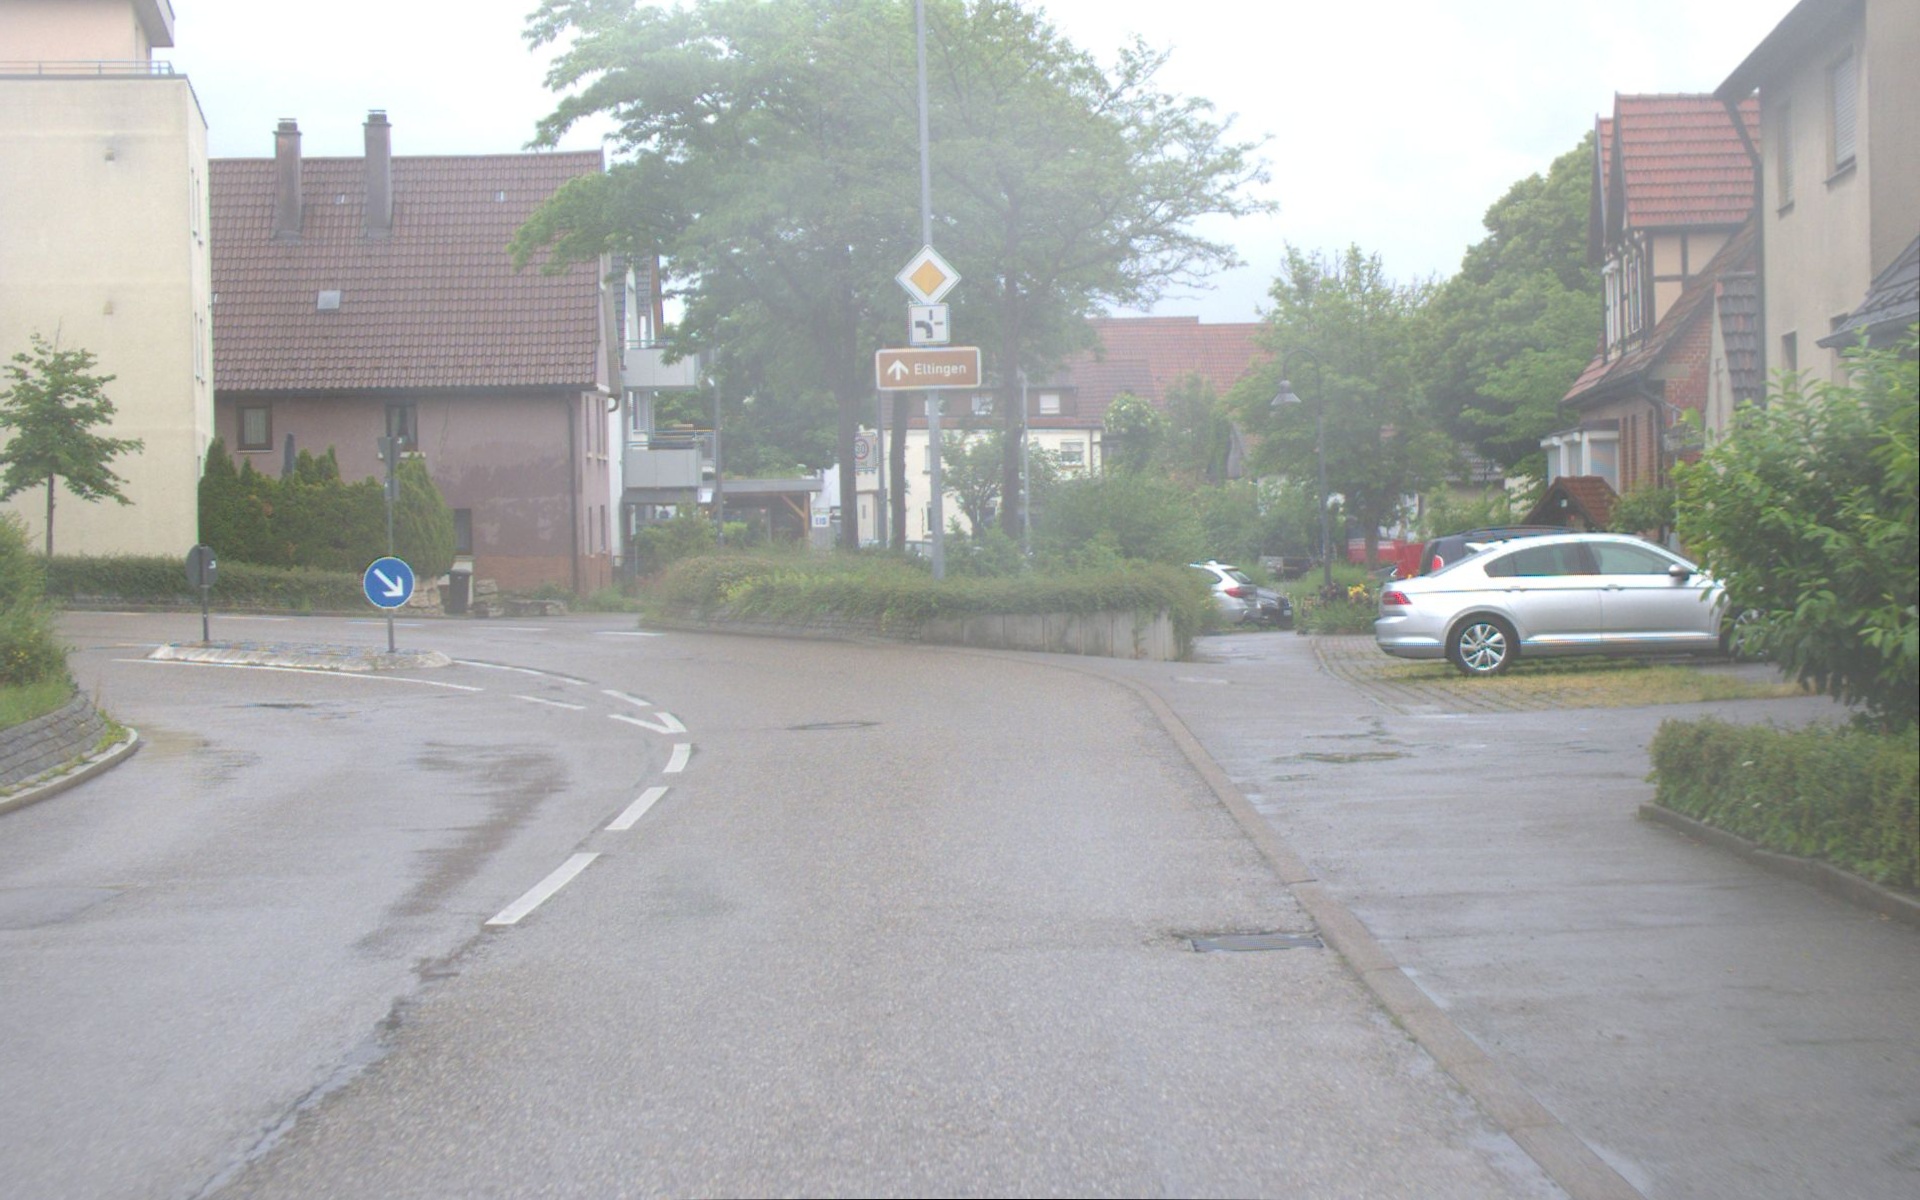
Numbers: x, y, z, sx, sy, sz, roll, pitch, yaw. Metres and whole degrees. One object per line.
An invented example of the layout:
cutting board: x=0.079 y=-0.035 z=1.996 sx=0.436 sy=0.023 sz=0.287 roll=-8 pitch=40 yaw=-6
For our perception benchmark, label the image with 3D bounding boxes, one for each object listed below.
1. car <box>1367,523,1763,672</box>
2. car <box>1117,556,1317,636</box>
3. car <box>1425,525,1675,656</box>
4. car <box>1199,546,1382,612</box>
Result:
car: x=6.362 y=-0.033 z=36.265 sx=3.955 sy=1.404 sz=1.999 roll=-2 pitch=0 yaw=10
car: x=5.488 y=-0.089 z=73.171 sx=3.989 sy=1.620 sz=1.999 roll=-1 pitch=1 yaw=12
car: x=7.186 y=-0.122 z=41.795 sx=2.912 sy=1.518 sz=1.390 roll=-1 pitch=1 yaw=13
car: x=7.570 y=-0.480 z=78.531 sx=3.989 sy=1.415 sz=1.999 roll=-1 pitch=1 yaw=11
